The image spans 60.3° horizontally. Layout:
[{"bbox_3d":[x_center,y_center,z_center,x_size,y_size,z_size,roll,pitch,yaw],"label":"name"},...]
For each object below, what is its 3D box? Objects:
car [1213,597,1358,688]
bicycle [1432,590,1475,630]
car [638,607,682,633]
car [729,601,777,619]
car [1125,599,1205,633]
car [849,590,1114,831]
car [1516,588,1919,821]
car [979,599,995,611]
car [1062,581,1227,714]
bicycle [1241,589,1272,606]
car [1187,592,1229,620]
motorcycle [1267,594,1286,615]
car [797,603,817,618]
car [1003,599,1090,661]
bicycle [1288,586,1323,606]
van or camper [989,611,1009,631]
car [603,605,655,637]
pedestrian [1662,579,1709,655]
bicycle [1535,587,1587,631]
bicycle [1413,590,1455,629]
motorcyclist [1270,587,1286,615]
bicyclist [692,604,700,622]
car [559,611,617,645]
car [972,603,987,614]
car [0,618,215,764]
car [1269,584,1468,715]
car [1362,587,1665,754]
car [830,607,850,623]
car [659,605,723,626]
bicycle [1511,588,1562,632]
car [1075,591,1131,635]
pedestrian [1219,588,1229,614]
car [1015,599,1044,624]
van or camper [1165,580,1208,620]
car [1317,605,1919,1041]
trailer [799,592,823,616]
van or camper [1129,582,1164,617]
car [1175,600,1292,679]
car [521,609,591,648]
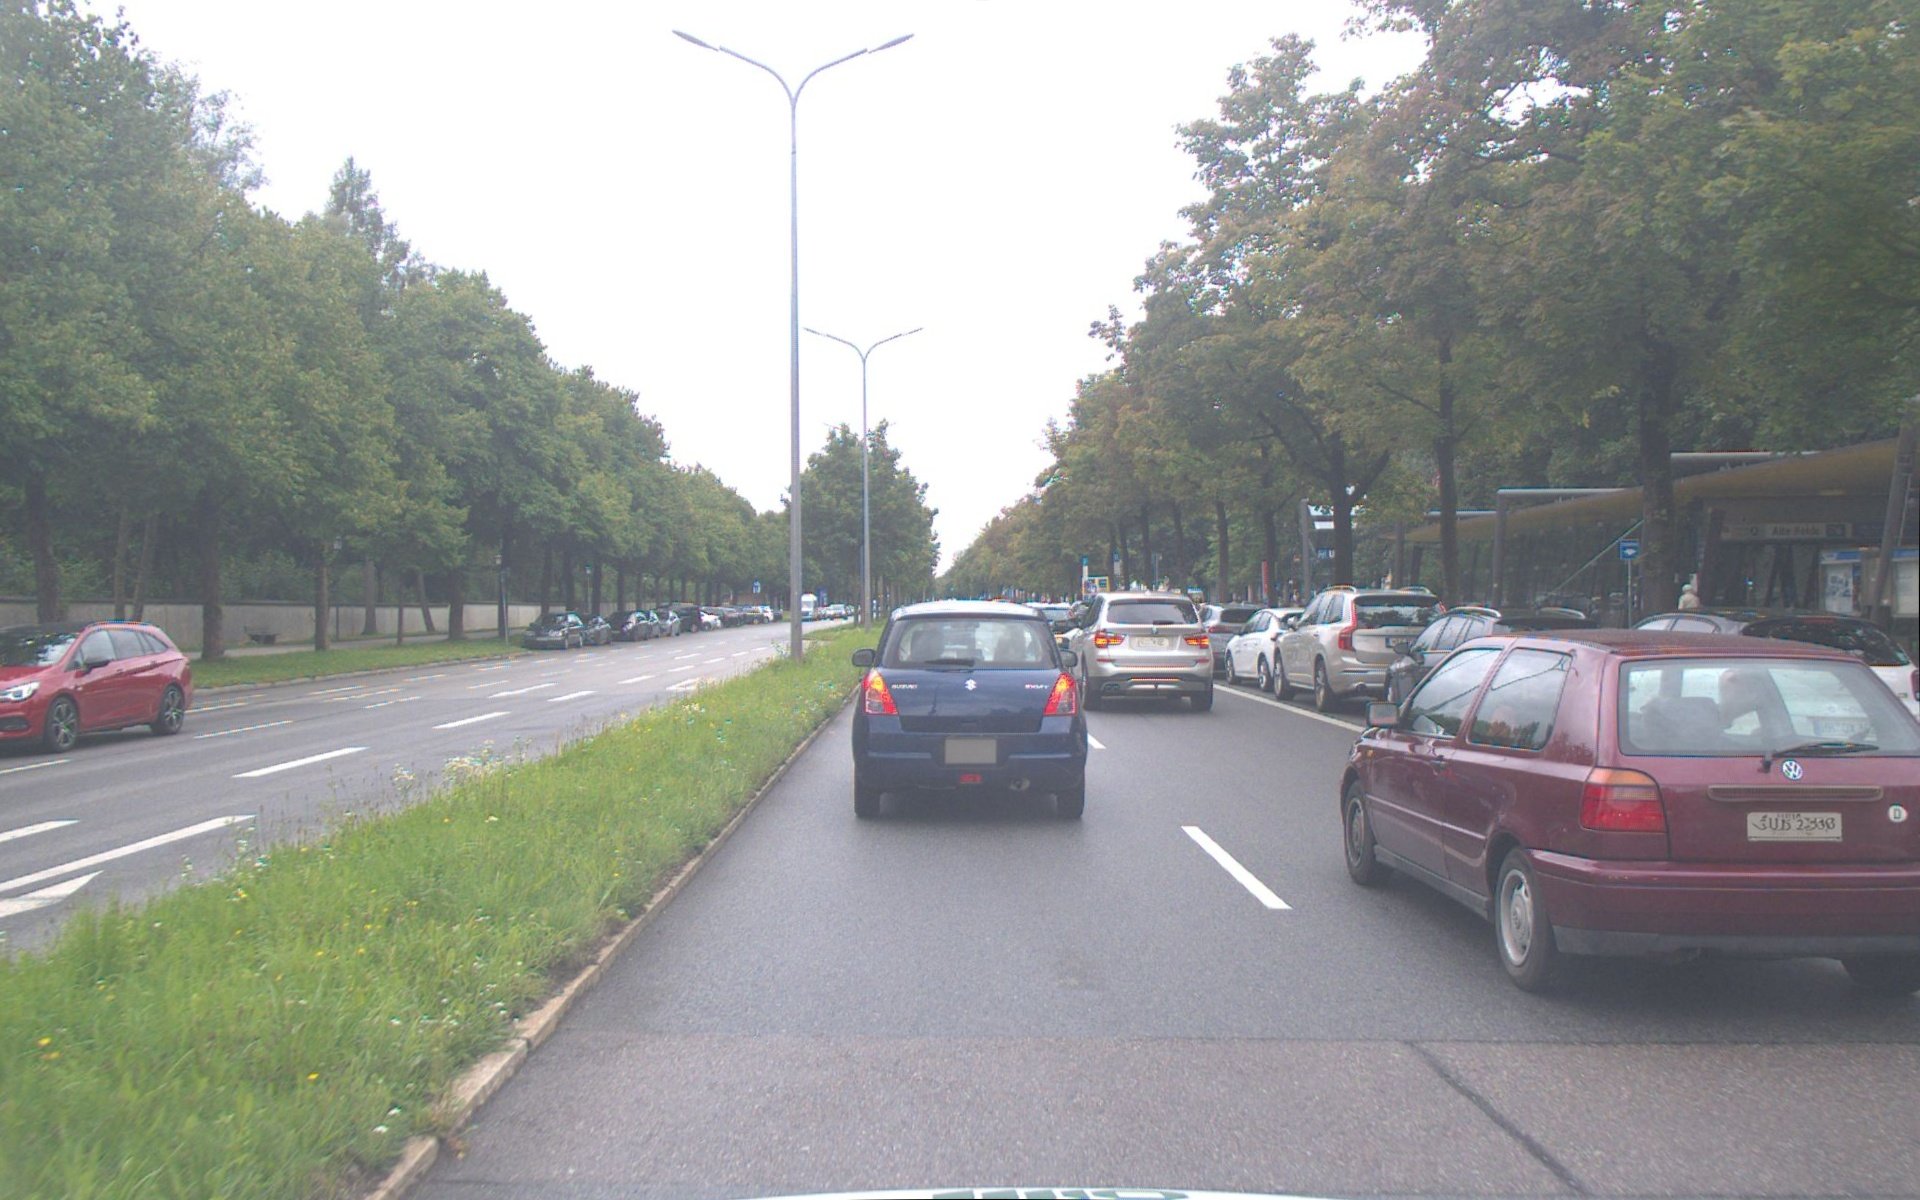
[{"bbox_3d":[5.943,0.728,30.708,1.667,1.534,4.502,-1,0,-2],"label":"car"},{"bbox_3d":[16.709,0.324,56.053,0.632,1.303,2.550,-1,0,-1],"label":"bicycle"},{"bbox_3d":[-17.268,1.131,95.391,1.602,1.464,4.809,0,0,0],"label":"car"},{"bbox_3d":[-19.628,0.988,156.937,4.059,1.612,1.896,-1,0,-34],"label":"car"},{"bbox_3d":[10.446,0.785,84.062,1.935,1.653,4.826,-1,0,37],"label":"car"},{"bbox_3d":[0.070,0.733,13.034,1.753,1.583,3.998,-1,0,-2],"label":"car"},{"bbox_3d":[6.187,0.713,13.535,1.678,1.574,4.380,-1,0,-2],"label":"car"},{"bbox_3d":[3.380,0.615,208.982,1.813,1.472,4.096,-1,0,-2],"label":"car"},{"bbox_3d":[2.629,0.647,24.429,1.813,1.773,4.096,-1,0,-2],"label":"car"},{"bbox_3d":[26.345,-0.221,146.979,2.560,1.534,0.797,-1,0,-7],"label":"bicycle"},{"bbox_3d":[15.336,0.369,102.364,1.953,1.680,4.000,-1,0,0],"label":"car"},{"bbox_3d":[20.305,0.291,105.994,0.682,1.313,2.066,-5,0,-1],"label":"motorcycle"},{"bbox_3d":[-16.128,1.078,174.685,1.875,1.569,4.186,-1,0,-2],"label":"car"},{"bbox_3d":[2.151,0.724,42.164,1.813,1.472,4.096,-1,0,-2],"label":"car"},{"bbox_3d":[26.995,-0.297,129.337,2.566,1.534,0.795,-1,0,-15],"label":"bicycle"},{"bbox_3d":[4.022,2.124,170.518,1.905,2.009,4.306,-1,0,0],"label":"van or camper"},{"bbox_3d":[-16.648,1.044,83.393,1.538,1.529,4.305,0,0,3],"label":"car"},{"bbox_3d":[14.931,0.351,34.058,0.569,1.539,0.690,0,0,-19],"label":"pedestrian"},{"bbox_3d":[18.413,0.280,50.759,0.632,1.303,2.550,-1,0,-1],"label":"bicycle"},{"bbox_3d":[16.047,0.318,56.017,0.632,1.303,2.550,-1,0,-1],"label":"bicycle"},{"bbox_3d":[20.298,0.064,105.710,0.677,1.767,0.953,-5,0,-1],"label":"motorcyclist"},{"bbox_3d":[-25.708,1.248,161.035,0.690,1.777,0.922,-1,0,-1],"label":"bicyclist"},{"bbox_3d":[-16.812,1.233,74.940,1.625,1.420,4.706,0,0,-1],"label":"car"},{"bbox_3d":[2.644,1.107,222.813,1.813,1.472,4.096,-1,0,-2],"label":"car"},{"bbox_3d":[-10.917,1.035,19.987,1.708,1.477,4.656,-3,0,-1],"label":"car"},{"bbox_3d":[5.910,0.642,24.534,1.712,1.754,4.905,0,0,-1],"label":"car"},{"bbox_3d":[6.019,0.673,18.613,1.712,1.574,4.641,-2,1,-1],"label":"car"},{"bbox_3d":[-12.660,1.565,174.524,1.875,1.569,4.186,-1,0,-2],"label":"car"},{"bbox_3d":[-18.402,1.064,113.317,3.955,1.378,1.828,-1,0,-36],"label":"car"},{"bbox_3d":[17.662,0.303,50.733,0.632,1.303,2.550,-1,0,-1],"label":"bicycle"},{"bbox_3d":[5.766,0.517,67.107,1.750,1.704,4.594,-1,0,-1],"label":"car"},{"bbox_3d":[18.324,0.084,114.755,0.563,1.782,0.732,-1,0,4],"label":"pedestrian"},{"bbox_3d":[4.774,0.768,113.655,1.728,1.680,4.423,0,0,-1],"label":"car"},{"bbox_3d":[15.125,-0.005,110.717,1.953,2.602,5.956,-1,0,0],"label":"van or camper"},{"bbox_3d":[2.937,0.777,7.725,1.589,1.479,3.948,-1,0,-1],"label":"car"},{"bbox_3d":[-16.569,0.415,184.087,2.063,2.585,5.576,-1,0,0],"label":"trailer"},{"bbox_3d":[14.320,-0.018,127.261,1.983,2.602,5.956,-1,0,0],"label":"van or camper"},{"bbox_3d":[5.763,0.795,35.317,1.685,1.561,4.398,1,0,-1],"label":"car"},{"bbox_3d":[-16.775,1.178,68.957,1.762,1.516,4.914,0,0,-1],"label":"car"}]
